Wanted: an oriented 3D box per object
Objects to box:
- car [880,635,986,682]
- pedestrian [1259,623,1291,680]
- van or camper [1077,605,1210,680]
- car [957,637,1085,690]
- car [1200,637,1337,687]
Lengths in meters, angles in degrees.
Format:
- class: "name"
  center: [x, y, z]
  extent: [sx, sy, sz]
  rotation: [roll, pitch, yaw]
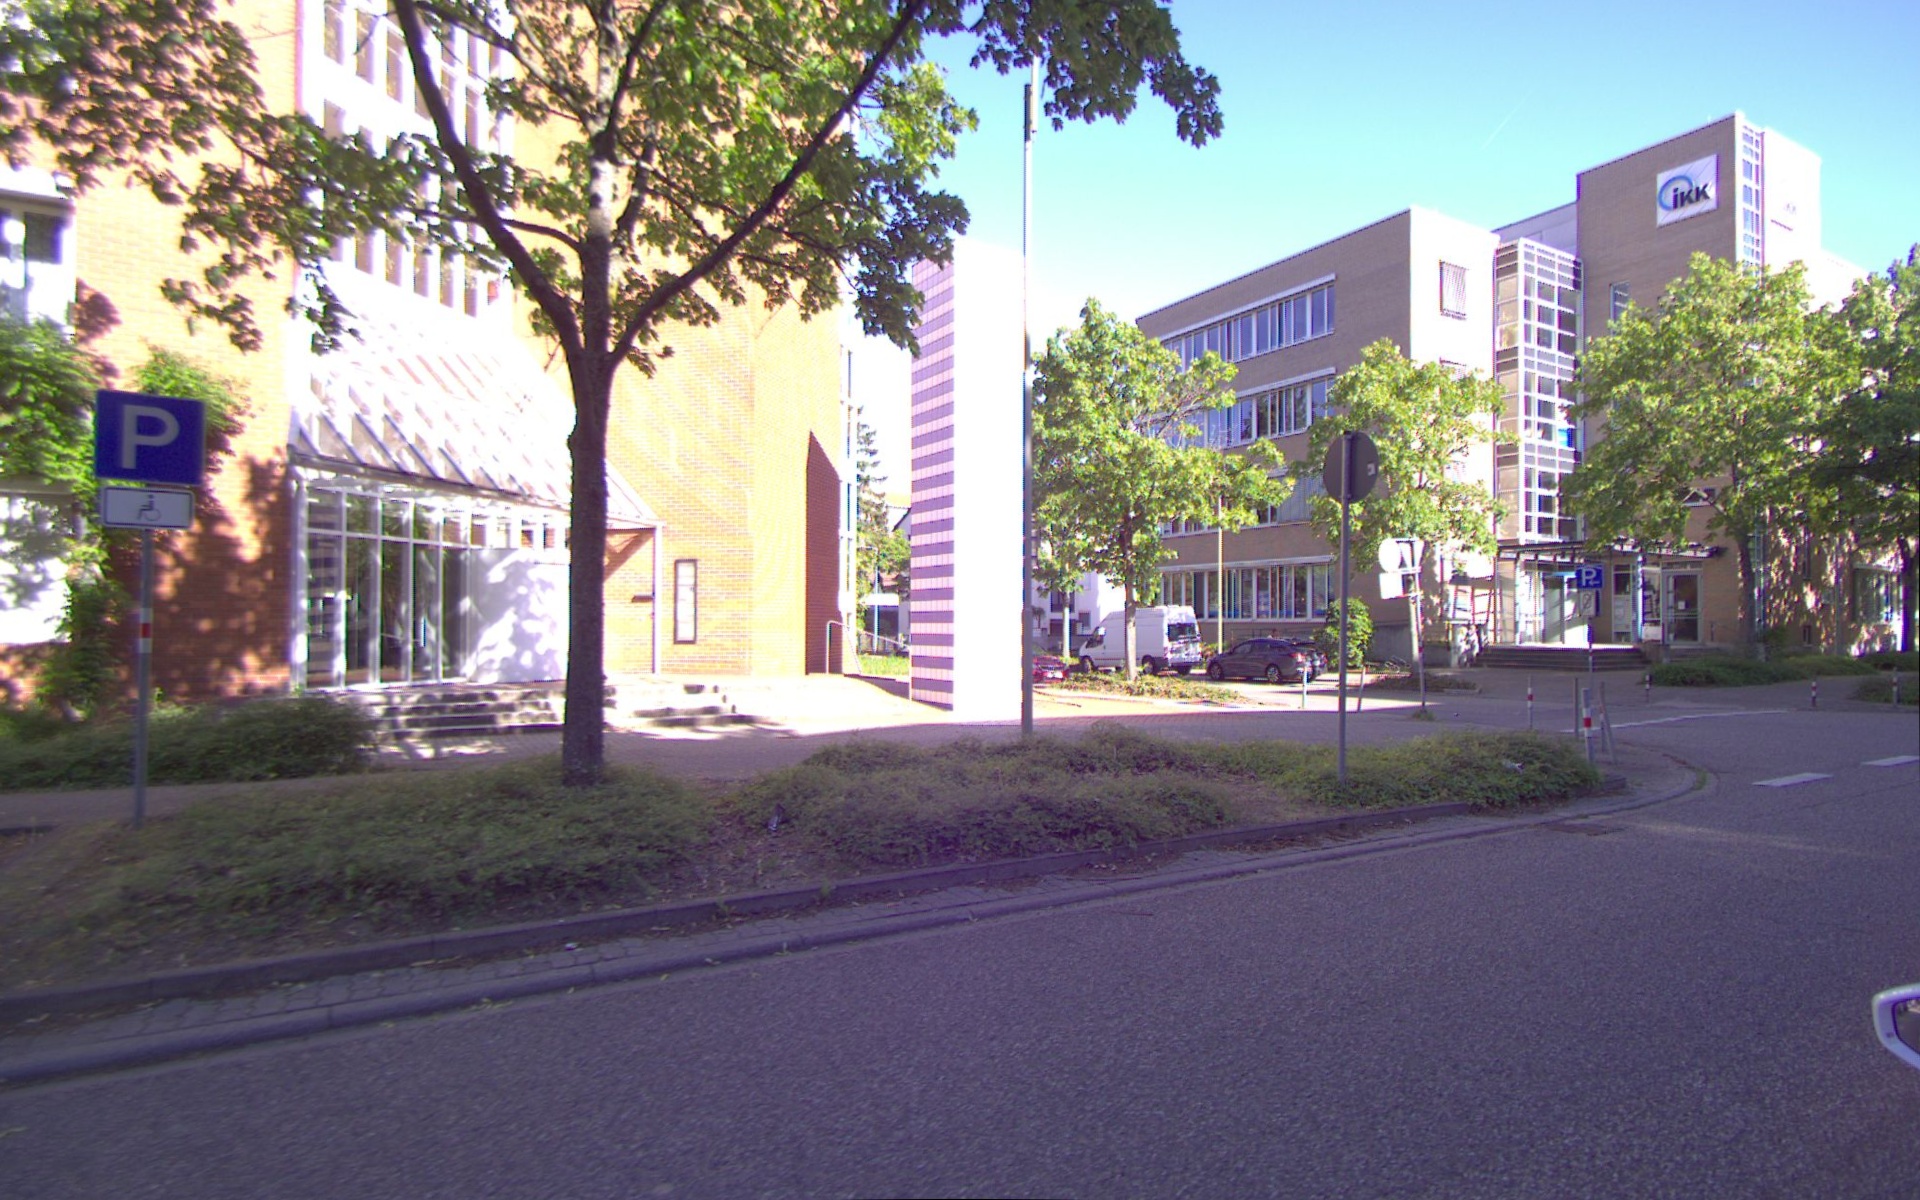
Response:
- class: "car"
  center: [-1.010, 2.099, 35.535]
  extent: [1.977, 1.496, 4.173]
  rotation: [4, -5, -30]
- class: "pedestrian"
  center: [11.338, 1.851, 36.176]
  extent: [0.806, 2.040, 0.777]
  rotation: [1, -2, -39]
- class: "van or camper"
  center: [7.100, 1.641, 39.562]
  extent: [2.155, 2.710, 5.343]
  rotation: [-1, -2, -31]
- class: "car"
  center: [1.822, 1.977, 31.212]
  extent: [1.977, 1.496, 4.173]
  rotation: [4, -5, -30]
- class: "car"
  center: [10.279, 2.040, 33.765]
  extent: [1.976, 1.496, 4.173]
  rotation: [-1, -2, -30]
